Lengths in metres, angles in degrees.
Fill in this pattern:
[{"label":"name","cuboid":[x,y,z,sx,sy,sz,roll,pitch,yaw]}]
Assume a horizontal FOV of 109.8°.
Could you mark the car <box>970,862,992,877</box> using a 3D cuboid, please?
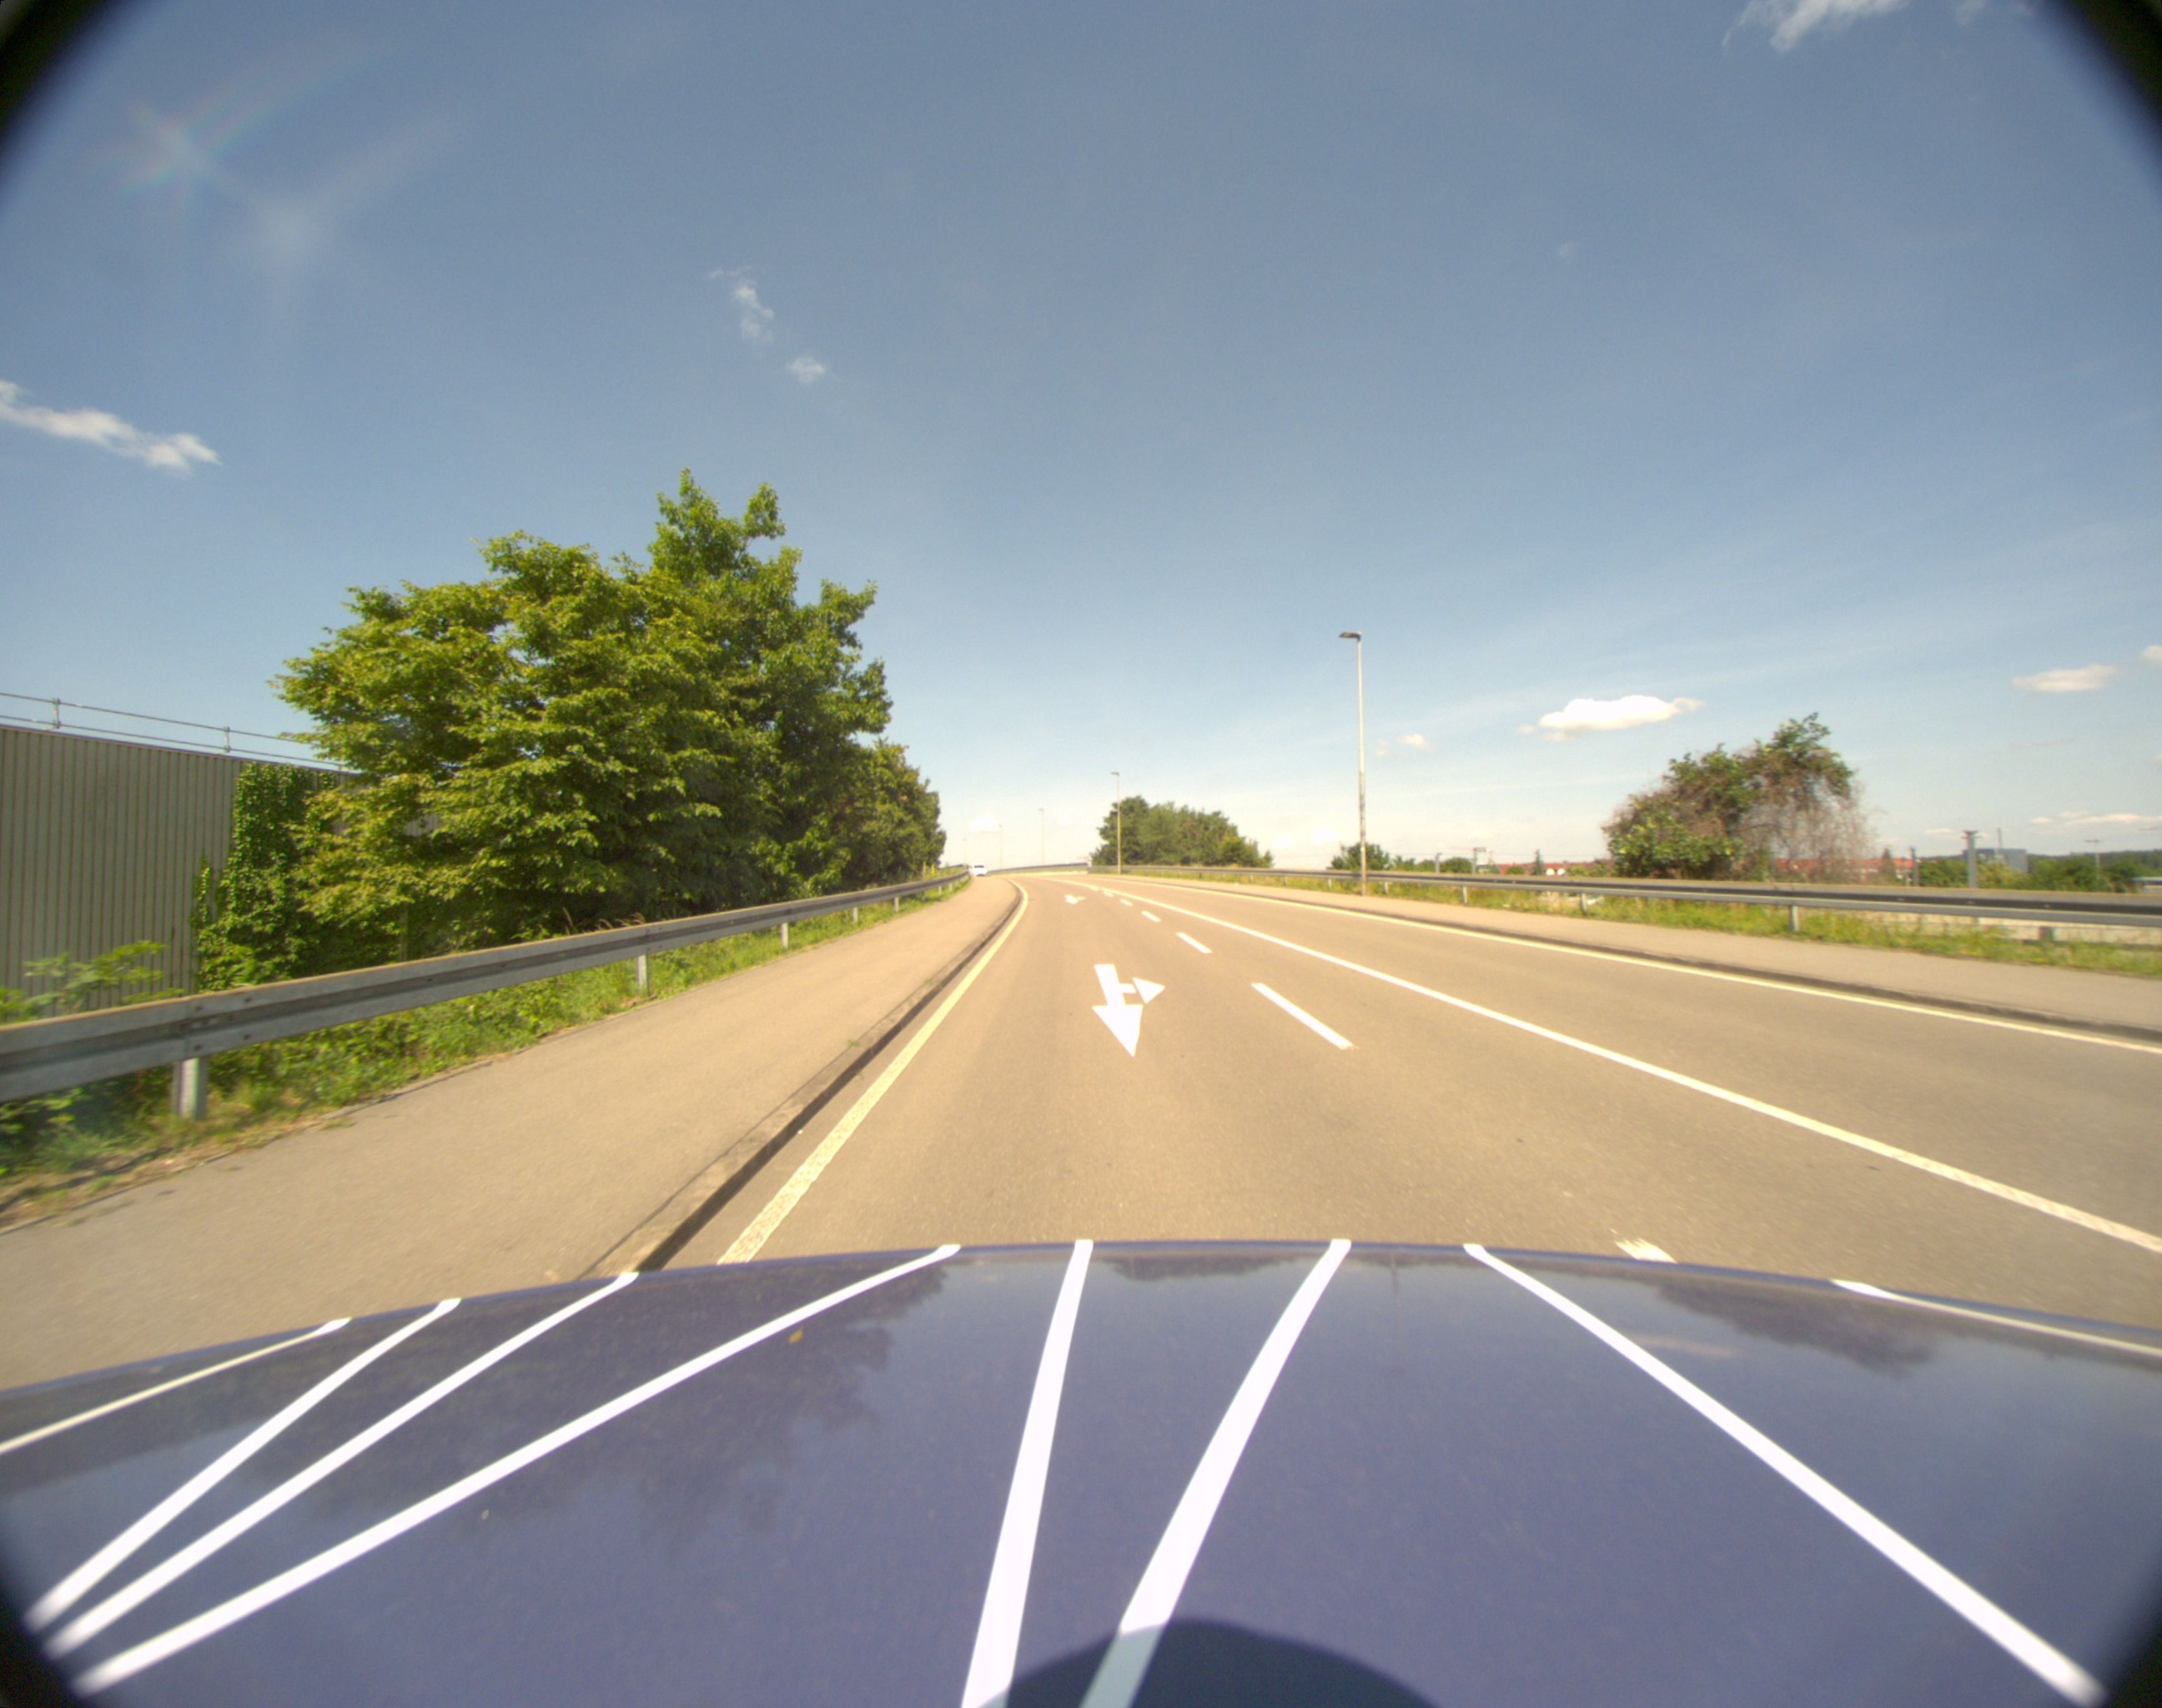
[{"label":"car","cuboid":[-13.104,2.026,99.612,2.095,1.750,4.277,-3,-1,-17]}]
